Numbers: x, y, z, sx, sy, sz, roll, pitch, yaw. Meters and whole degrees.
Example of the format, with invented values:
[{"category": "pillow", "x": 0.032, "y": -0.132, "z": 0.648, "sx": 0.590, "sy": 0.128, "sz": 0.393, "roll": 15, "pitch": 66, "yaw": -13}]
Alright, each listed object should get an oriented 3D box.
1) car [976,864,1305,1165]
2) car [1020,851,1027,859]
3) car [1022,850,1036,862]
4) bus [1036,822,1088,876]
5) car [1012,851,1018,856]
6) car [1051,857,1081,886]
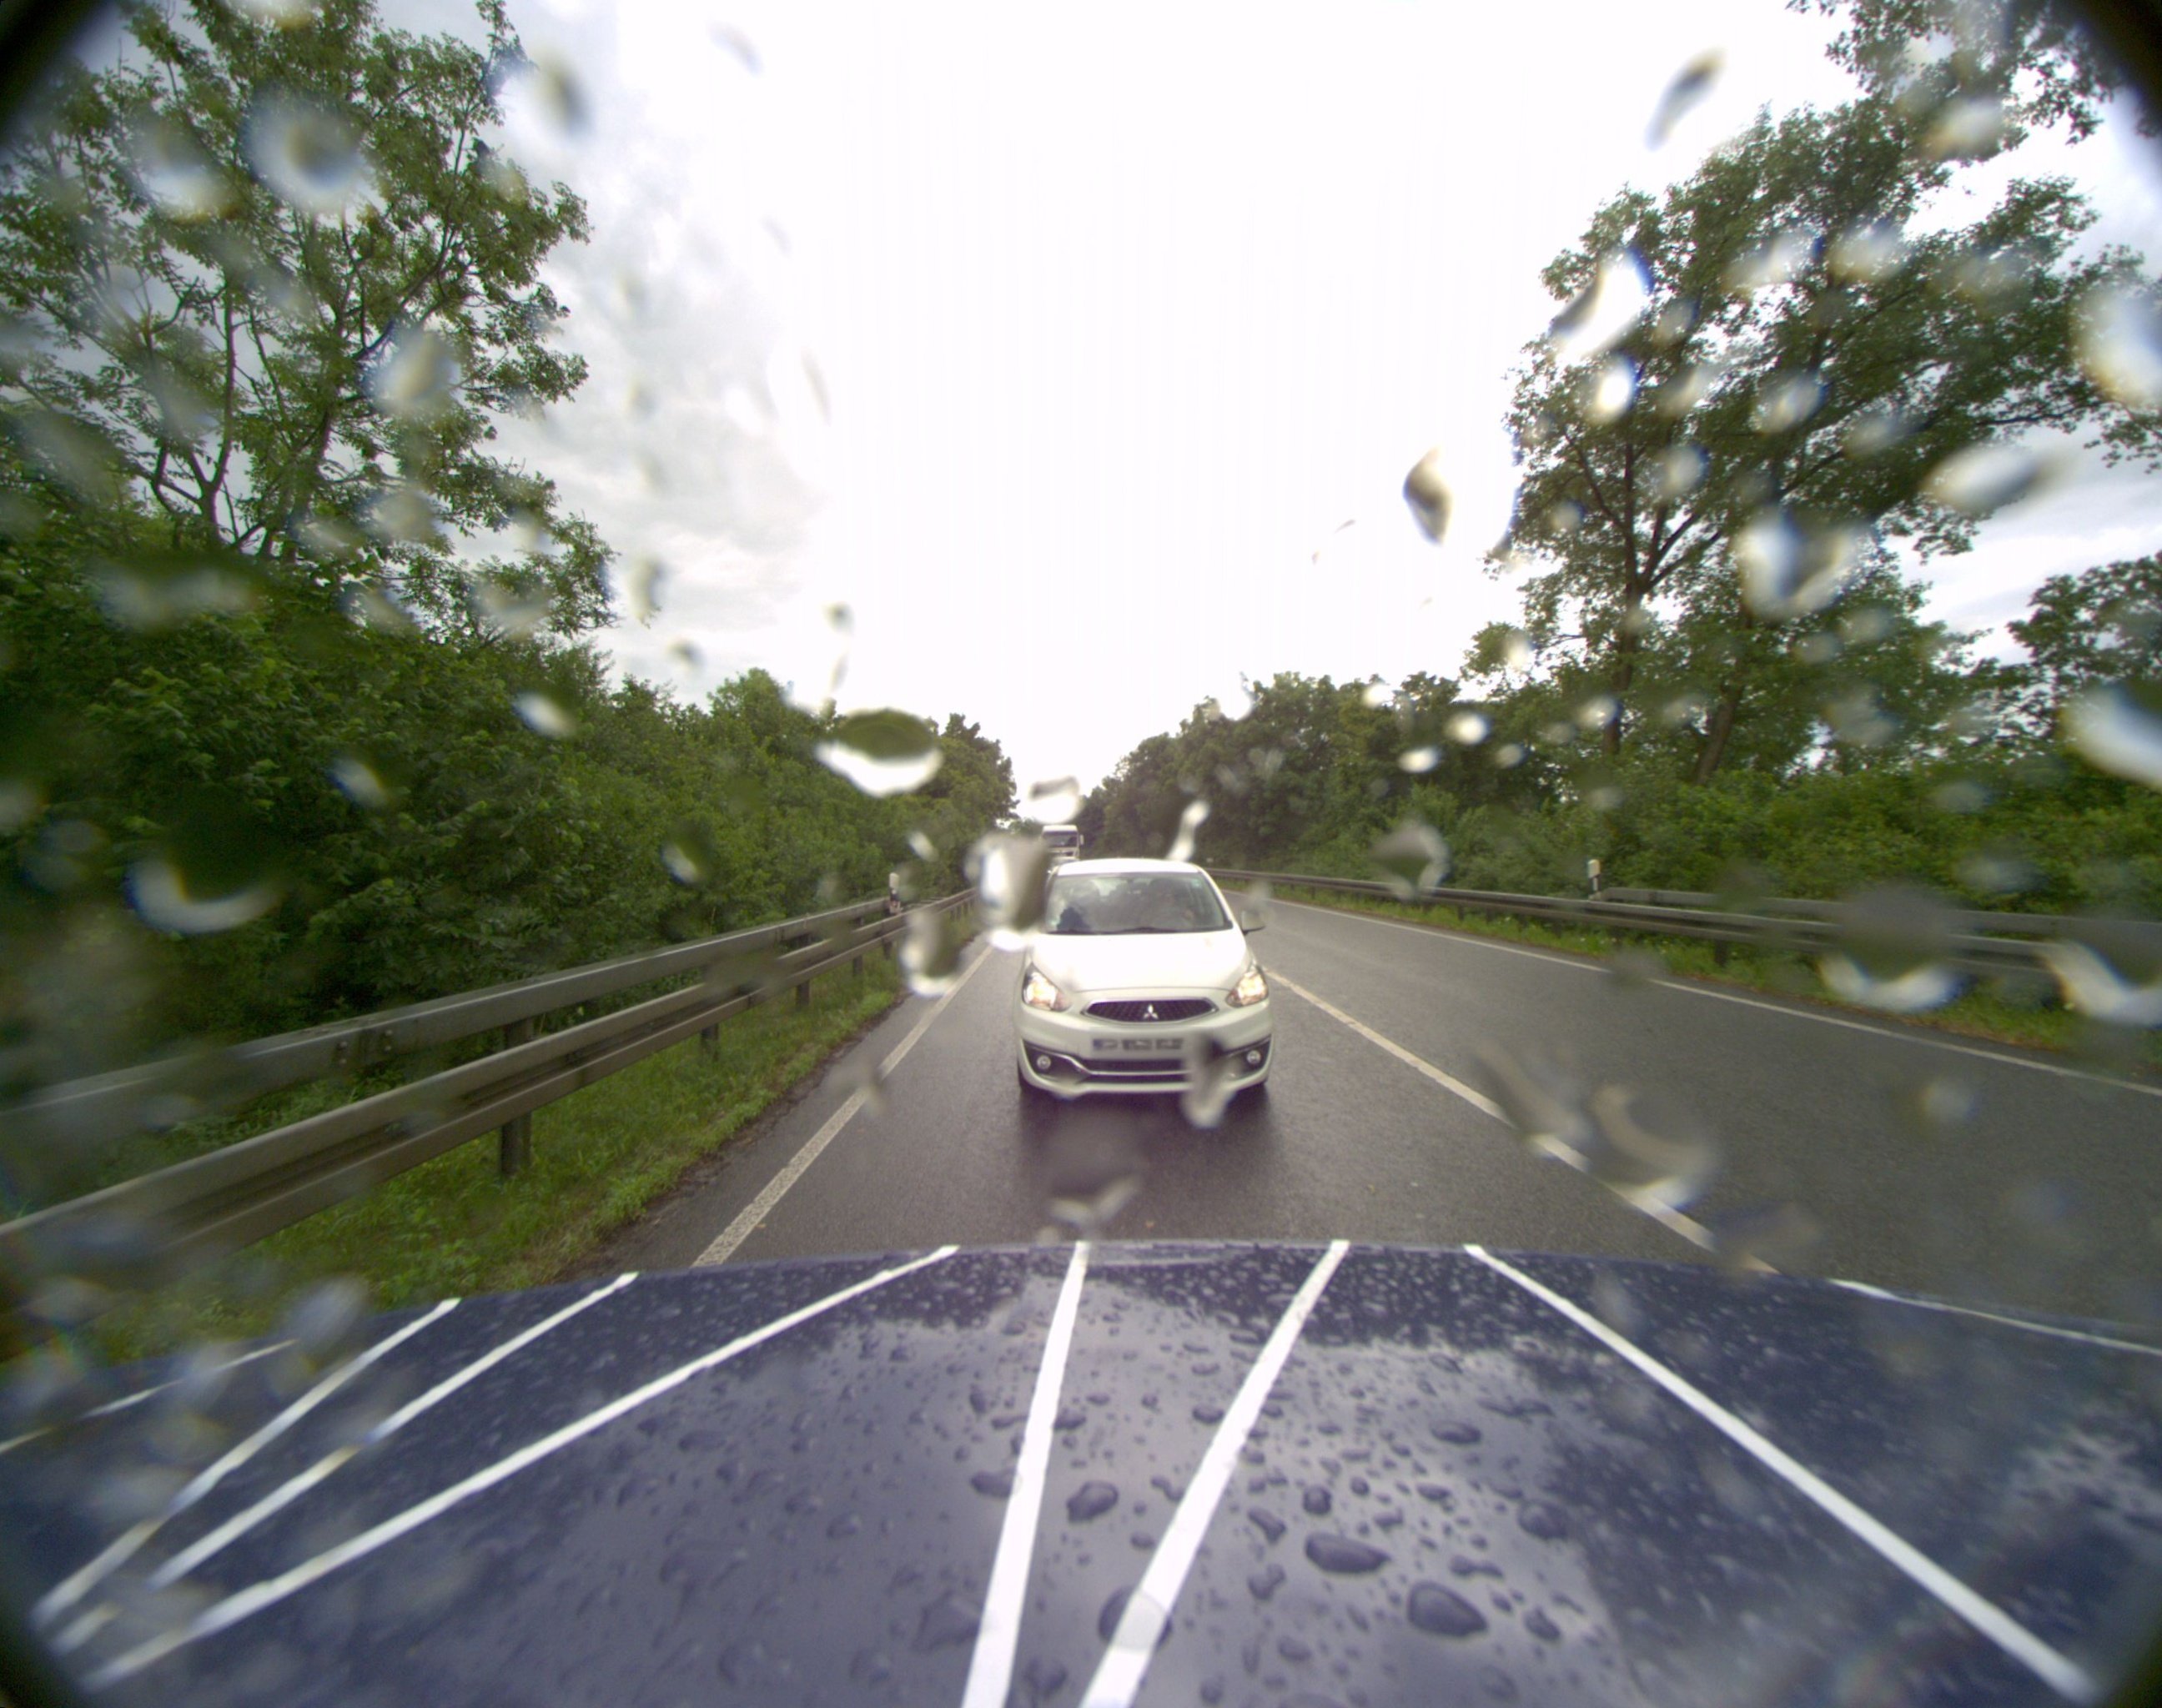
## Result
[{"category": "car", "x": 0.335, "y": 0.877, "z": 6.039, "sx": 1.701, "sy": 1.471, "sz": 4.063, "roll": -1, "pitch": 0, "yaw": 1}, {"category": "car", "x": -12.546, "y": 0.235, "z": 165.201, "sx": 1.421, "sy": 1.611, "sz": 3.477, "roll": -2, "pitch": 0, "yaw": -7}, {"category": "car", "x": -9.346, "y": 0.337, "z": 135.846, "sx": 2.000, "sy": 1.936, "sz": 3.996, "roll": -2, "pitch": 0, "yaw": -10}, {"category": "bus", "x": -1.614, "y": -0.344, "z": 56.532, "sx": 3.064, "sy": 3.405, "sz": 13.634, "roll": -2, "pitch": 0, "yaw": -4}, {"category": "car", "x": -15.469, "y": -0.059, "z": 179.076, "sx": 1.145, "sy": 1.123, "sz": 2.550, "roll": -2, "pitch": 0, "yaw": -10}, {"category": "car", "x": -0.768, "y": 0.871, "z": 39.415, "sx": 1.476, "sy": 1.410, "sz": 3.428, "roll": -1, "pitch": -1, "yaw": -1}]
